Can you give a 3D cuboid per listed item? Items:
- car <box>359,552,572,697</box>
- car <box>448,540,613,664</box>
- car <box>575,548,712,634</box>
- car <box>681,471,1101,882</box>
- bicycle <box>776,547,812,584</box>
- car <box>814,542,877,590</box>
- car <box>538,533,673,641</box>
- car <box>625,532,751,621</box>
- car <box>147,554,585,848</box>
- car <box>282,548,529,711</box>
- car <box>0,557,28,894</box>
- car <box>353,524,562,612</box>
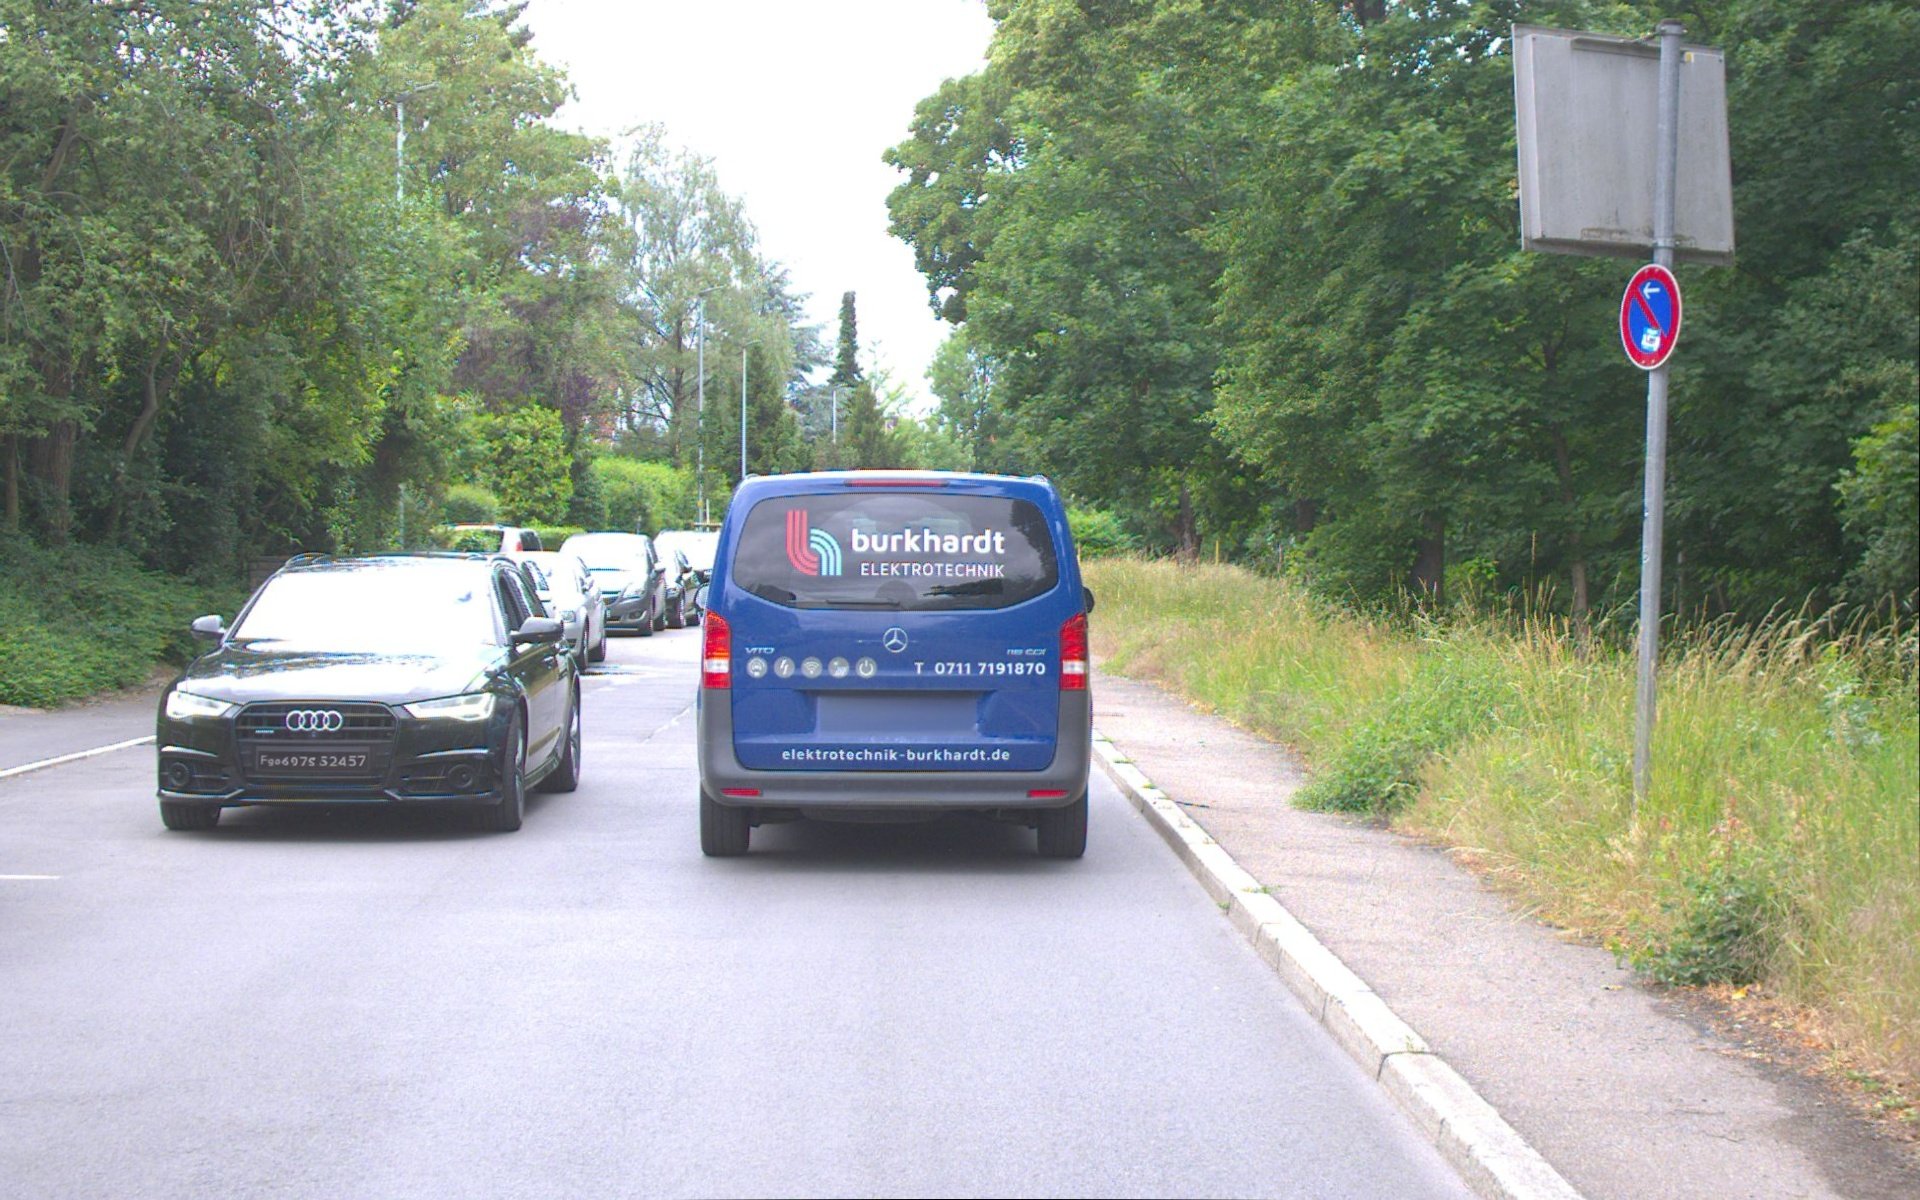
[{"bbox_3d":[-5.303,0.219,37.340,1.659,1.448,4.382,0,1,0],"label":"car"},{"bbox_3d":[-5.340,-0.009,43.140,1.623,1.445,4.094,1,1,-1],"label":"car"},{"bbox_3d":[-5.544,-0.192,60.795,1.754,1.408,4.898,2,1,2],"label":"car"},{"bbox_3d":[-0.411,0.269,17.548,1.888,1.837,4.001,0,2,-3],"label":"car"},{"bbox_3d":[-5.771,-1.202,119.907,0.906,1.247,2.915,3,1,3],"label":"bicycle"},{"bbox_3d":[-4.064,-1.214,122.764,1.836,1.625,4.300,2,1,3],"label":"car"},{"bbox_3d":[-5.666,-0.240,55.344,1.731,1.627,4.569,2,1,-1],"label":"car"},{"bbox_3d":[-5.610,-0.515,71.517,1.974,1.731,5.189,2,1,2],"label":"car"},{"bbox_3d":[-3.172,0.469,19.182,1.780,1.421,4.490,1,1,-2],"label":"car"},{"bbox_3d":[-5.187,0.233,32.620,1.623,1.445,3.969,0,1,1],"label":"car"},{"bbox_3d":[-4.880,0.555,12.400,1.778,1.427,5.106,1,1,-2],"label":"car"},{"bbox_3d":[-10.024,-0.645,68.646,3.694,1.632,1.827,2,1,13],"label":"car"}]
